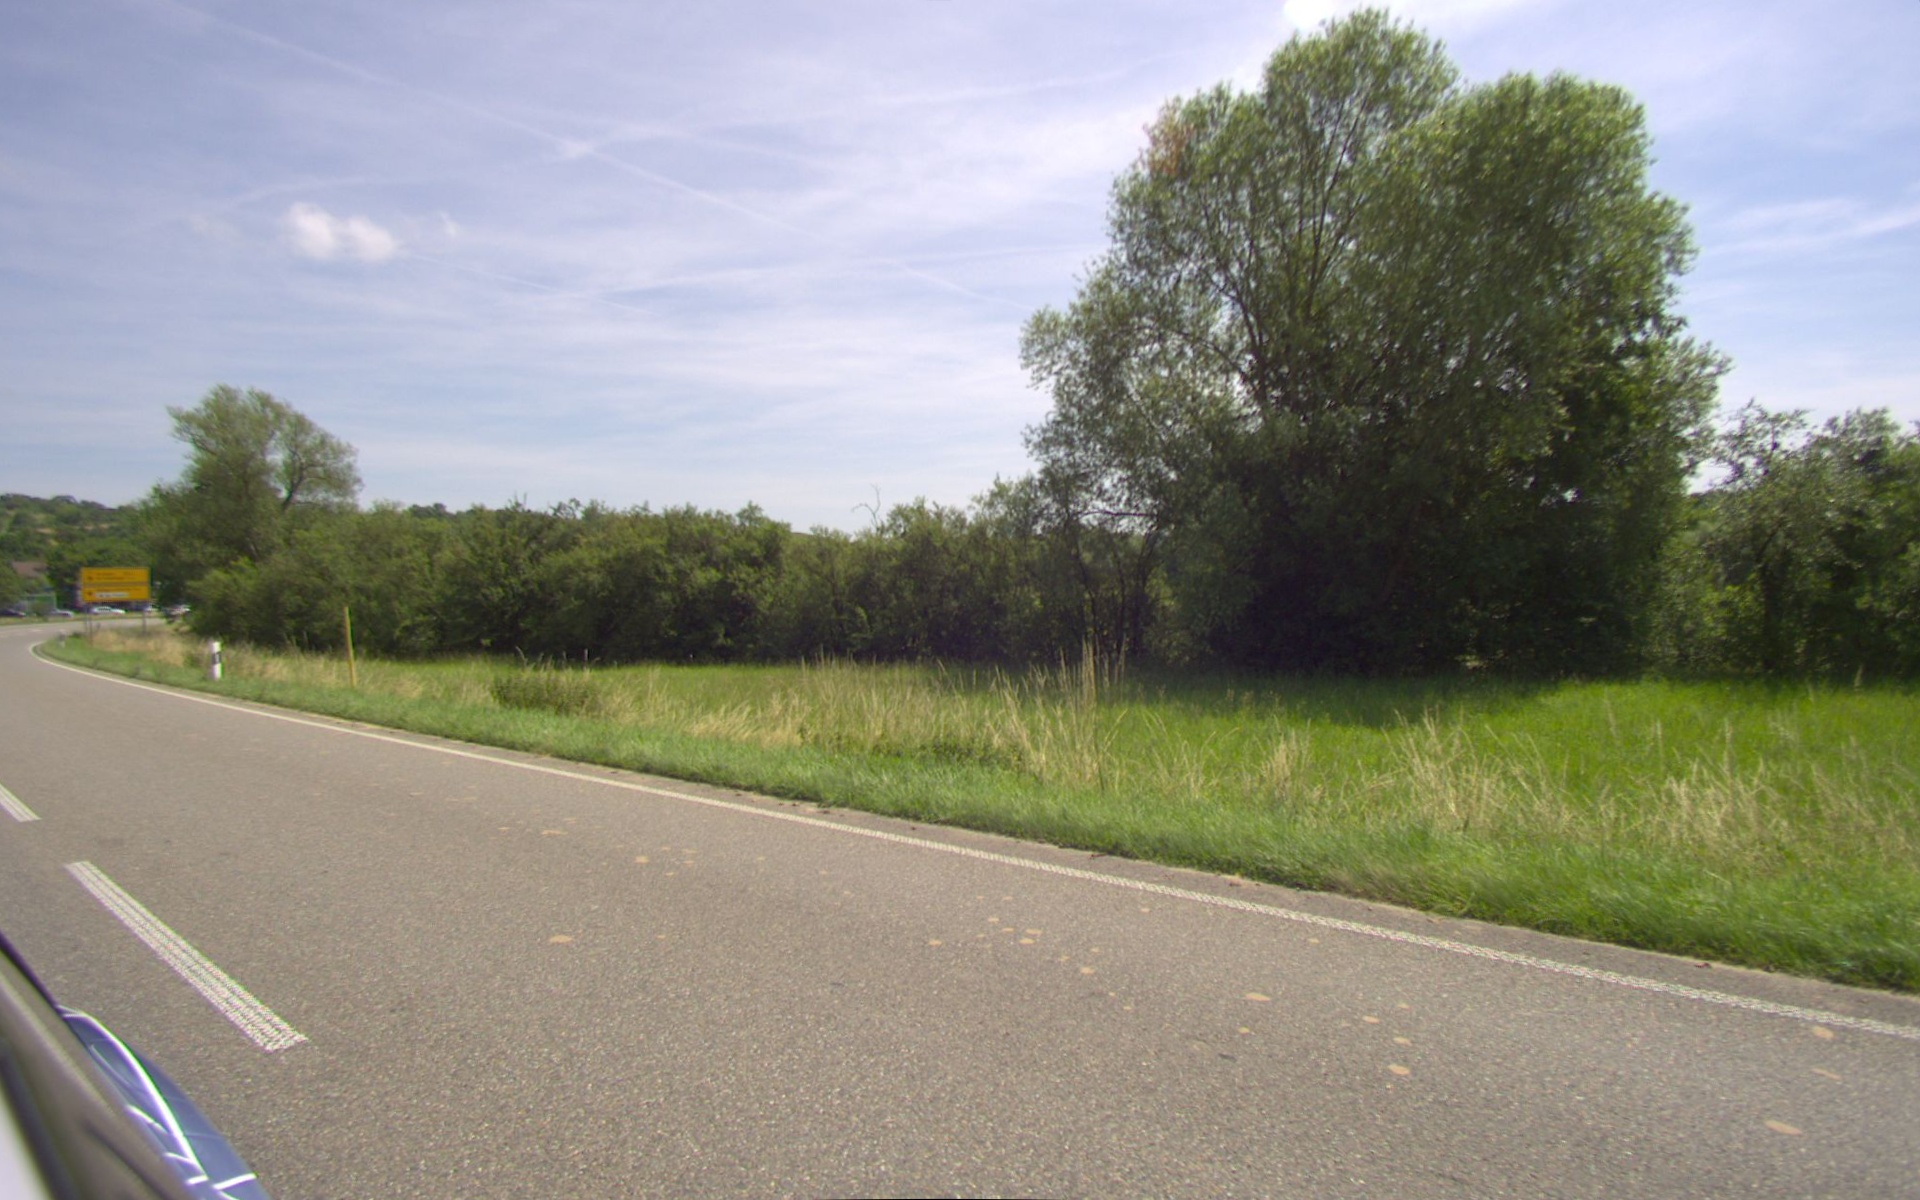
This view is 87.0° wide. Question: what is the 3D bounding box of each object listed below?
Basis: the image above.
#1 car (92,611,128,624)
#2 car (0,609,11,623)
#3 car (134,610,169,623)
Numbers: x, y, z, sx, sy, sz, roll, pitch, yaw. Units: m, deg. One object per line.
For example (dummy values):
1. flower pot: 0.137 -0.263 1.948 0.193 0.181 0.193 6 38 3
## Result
1. car: -134.231 2.694 159.842 3.931 2.029 1.894 1 -1 -19
2. car: -147.181 2.431 154.073 3.938 2.029 1.890 1 -1 -41
3. car: -129.207 2.697 161.718 3.931 2.029 1.894 1 -1 -19
